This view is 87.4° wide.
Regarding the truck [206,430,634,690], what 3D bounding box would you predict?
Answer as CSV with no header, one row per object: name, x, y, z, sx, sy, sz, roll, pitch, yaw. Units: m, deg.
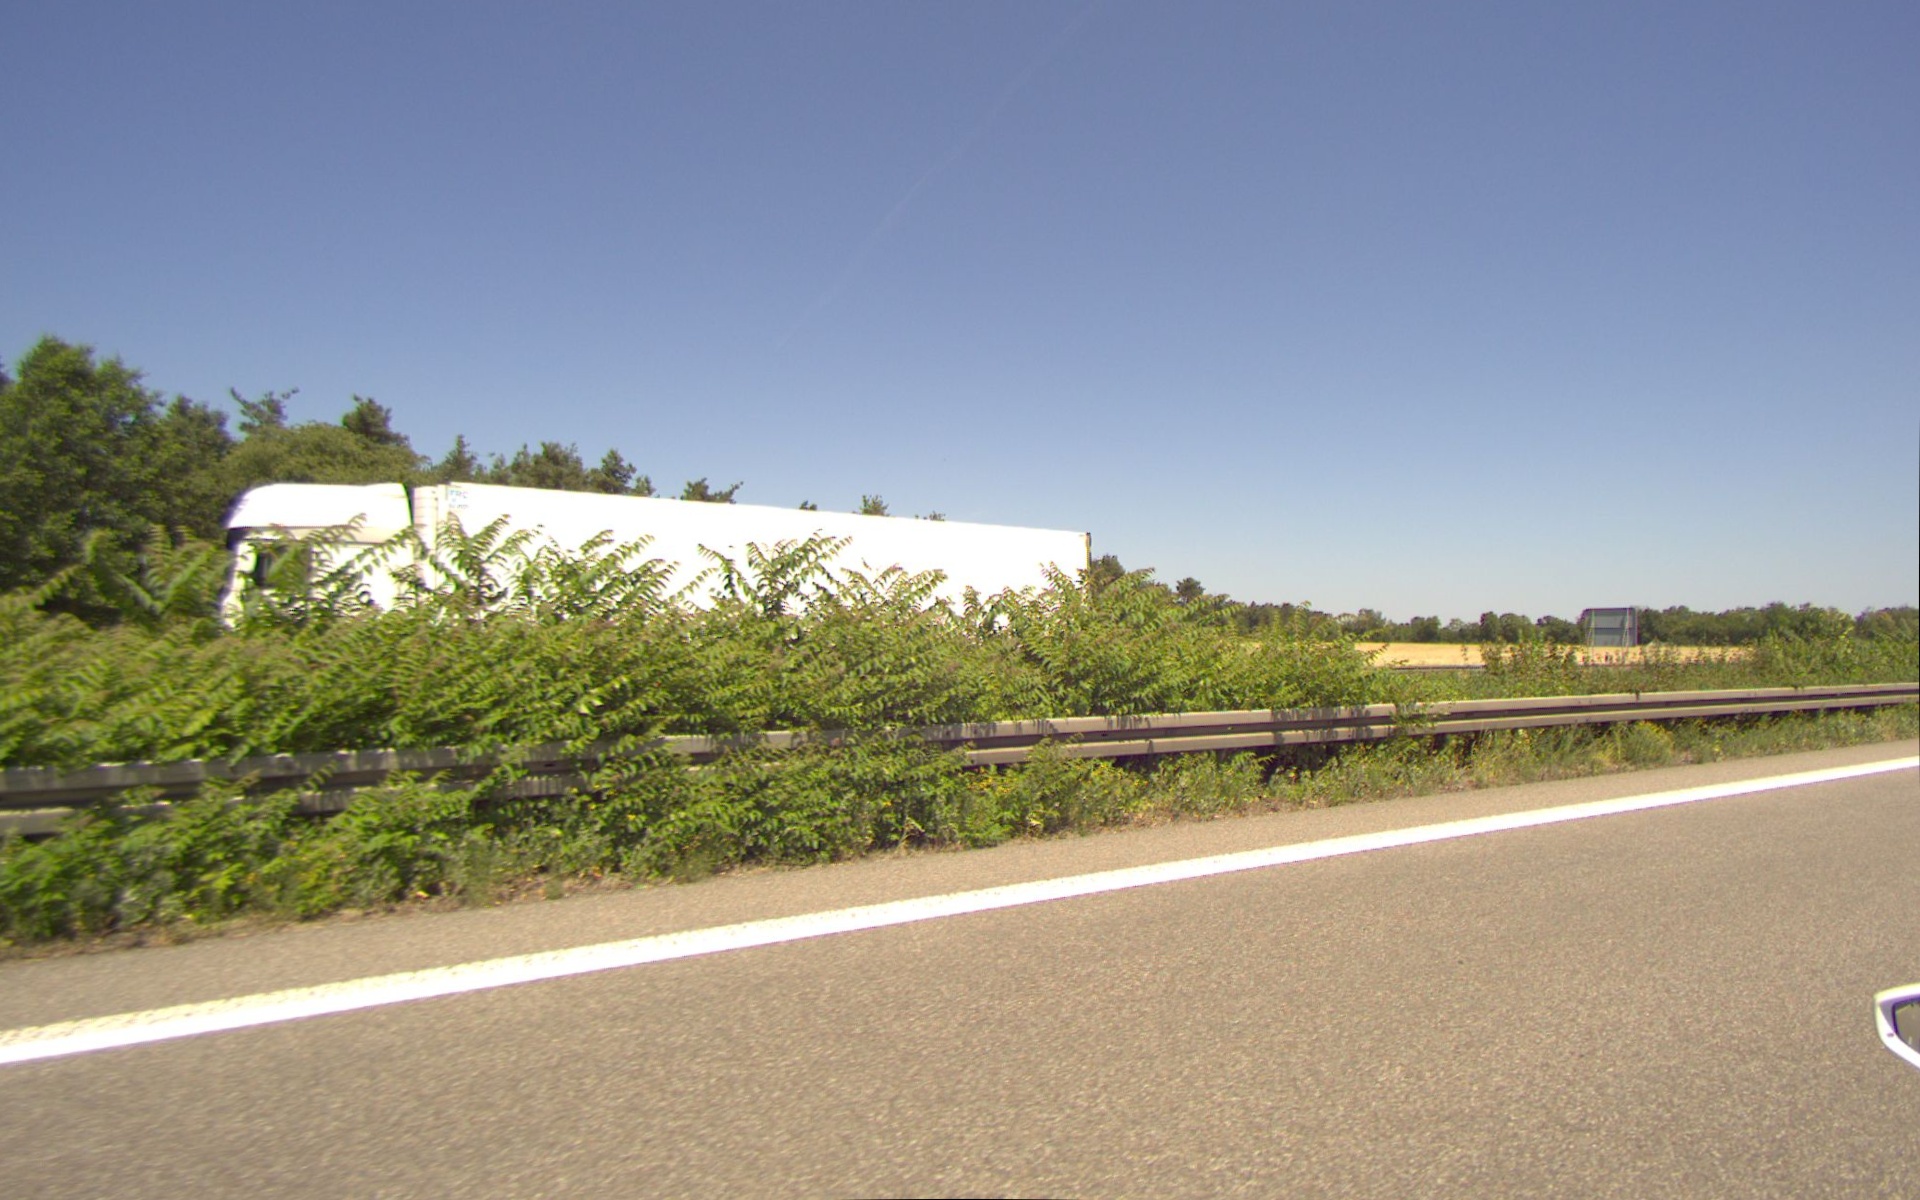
truck,-9.097,-0.523,17.410,5.968,3.748,3.163,2,0,-31

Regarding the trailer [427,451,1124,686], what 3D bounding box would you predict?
trailer,-3.049,-0.341,21.128,14.220,3.748,3.163,2,0,-32
